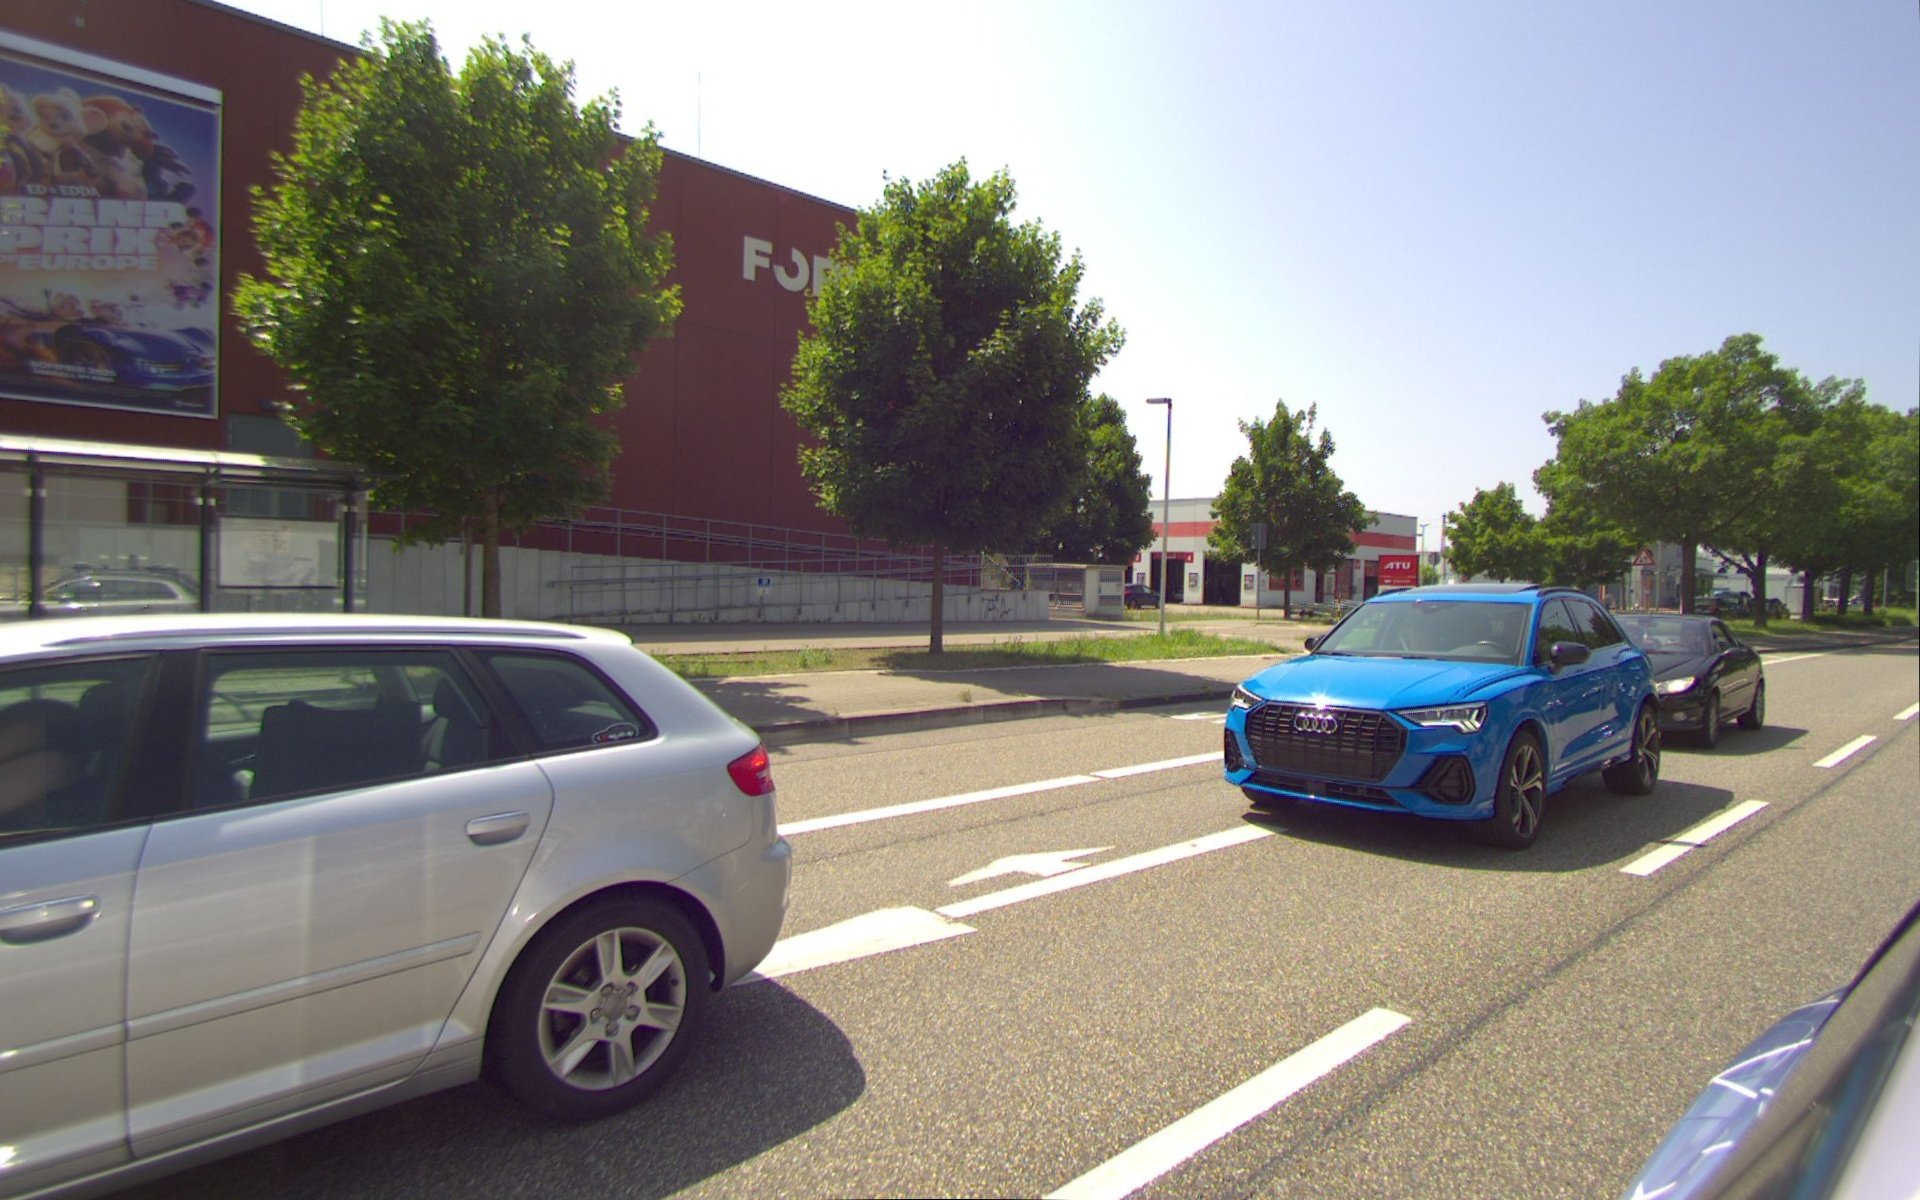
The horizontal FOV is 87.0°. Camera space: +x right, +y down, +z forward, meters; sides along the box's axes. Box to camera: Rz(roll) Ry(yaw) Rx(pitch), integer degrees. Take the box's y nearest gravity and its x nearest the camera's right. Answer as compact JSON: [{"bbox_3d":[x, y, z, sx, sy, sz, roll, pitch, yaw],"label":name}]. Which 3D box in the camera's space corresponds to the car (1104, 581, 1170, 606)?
[{"bbox_3d":[10.462,-0.362,59.665,4.074,1.390,1.716,0,2,-42],"label":"car"}]

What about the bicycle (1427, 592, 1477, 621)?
[{"bbox_3d":[20.652,0.250,42.502,1.779,1.138,0.506,3,1,43],"label":"bicycle"}]

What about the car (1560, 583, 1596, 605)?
[{"bbox_3d":[48.333,-0.471,79.119,1.753,1.616,3.940,2,2,42],"label":"car"}]

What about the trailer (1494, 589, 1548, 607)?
[{"bbox_3d":[35.084,-0.134,63.321,1.552,1.065,2.638,0,2,-43],"label":"trailer"}]

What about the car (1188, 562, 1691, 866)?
[{"bbox_3d":[3.744,0.586,7.507,4.324,1.616,1.840,0,1,-42],"label":"car"}]

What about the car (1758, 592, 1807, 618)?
[{"bbox_3d":[51.681,0.293,63.554,3.930,1.532,1.719,0,2,-41],"label":"car"}]

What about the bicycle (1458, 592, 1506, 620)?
[{"bbox_3d":[22.764,0.249,44.161,1.779,1.138,0.506,3,1,43],"label":"bicycle"}]

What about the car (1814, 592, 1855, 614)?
[{"bbox_3d":[64.714,0.223,74.868,3.930,1.485,1.719,0,2,-41],"label":"car"}]

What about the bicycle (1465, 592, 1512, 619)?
[{"bbox_3d":[23.350,0.240,44.732,1.779,1.138,0.506,3,1,43],"label":"bicycle"}]

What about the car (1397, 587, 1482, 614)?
[{"bbox_3d":[27.351,0.001,57.807,1.718,1.419,3.992,0,2,-43],"label":"car"}]

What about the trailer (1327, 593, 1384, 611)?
[{"bbox_3d":[18.859,0.082,48.261,1.369,0.771,2.137,0,2,-39],"label":"trailer"}]

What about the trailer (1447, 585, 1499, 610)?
[{"bbox_3d":[33.100,-0.163,65.330,1.391,1.546,2.638,0,2,-43],"label":"trailer"}]

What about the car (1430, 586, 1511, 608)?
[{"bbox_3d":[30.664,-0.189,60.889,1.718,1.223,3.991,0,2,-44],"label":"car"}]

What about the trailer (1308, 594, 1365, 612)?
[{"bbox_3d":[17.537,0.124,47.161,1.244,0.771,2.137,0,2,-39],"label":"trailer"}]

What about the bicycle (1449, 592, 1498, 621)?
[{"bbox_3d":[21.888,0.271,43.130,1.779,1.138,0.506,3,1,43],"label":"bicycle"}]

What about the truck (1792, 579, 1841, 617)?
[{"bbox_3d":[60.300,-0.147,71.219,3.929,2.599,1.904,0,1,-40],"label":"truck"}]

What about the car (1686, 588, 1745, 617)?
[{"bbox_3d":[38.842,0.103,52.003,3.930,1.388,1.641,0,2,-41],"label":"car"}]

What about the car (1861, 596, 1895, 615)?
[{"bbox_3d":[79.983,0.476,88.142,3.930,1.485,1.719,0,2,-41],"label":"car"}]

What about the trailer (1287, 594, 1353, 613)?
[{"bbox_3d":[16.293,0.149,45.831,1.423,0.771,2.467,0,2,-39],"label":"trailer"}]

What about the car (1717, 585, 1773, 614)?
[{"bbox_3d":[43.465,-0.041,56.016,3.930,1.485,1.719,0,2,-41],"label":"car"}]

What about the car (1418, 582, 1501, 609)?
[{"bbox_3d":[29.143,-0.298,59.090,1.718,1.419,3.991,0,2,-44],"label":"car"}]

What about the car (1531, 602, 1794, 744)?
[{"bbox_3d":[8.194,0.712,11.672,3.931,1.361,1.640,0,-1,-42],"label":"car"}]

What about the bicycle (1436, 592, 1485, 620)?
[{"bbox_3d":[21.166,0.237,42.848,1.779,1.138,0.506,3,1,43],"label":"bicycle"}]

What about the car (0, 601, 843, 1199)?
[{"bbox_3d":[-2.438,0.699,2.650,4.022,1.379,1.714,0,0,-43],"label":"car"}]

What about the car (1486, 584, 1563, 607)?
[{"bbox_3d":[36.386,-0.289,65.310,1.662,1.317,3.991,0,2,-44],"label":"car"}]

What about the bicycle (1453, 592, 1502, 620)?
[{"bbox_3d":[22.297,0.231,43.621,1.779,1.138,0.506,3,1,43],"label":"bicycle"}]

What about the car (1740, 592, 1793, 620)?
[{"bbox_3d":[47.304,0.323,59.338,3.930,1.539,1.719,0,2,-41],"label":"car"}]
